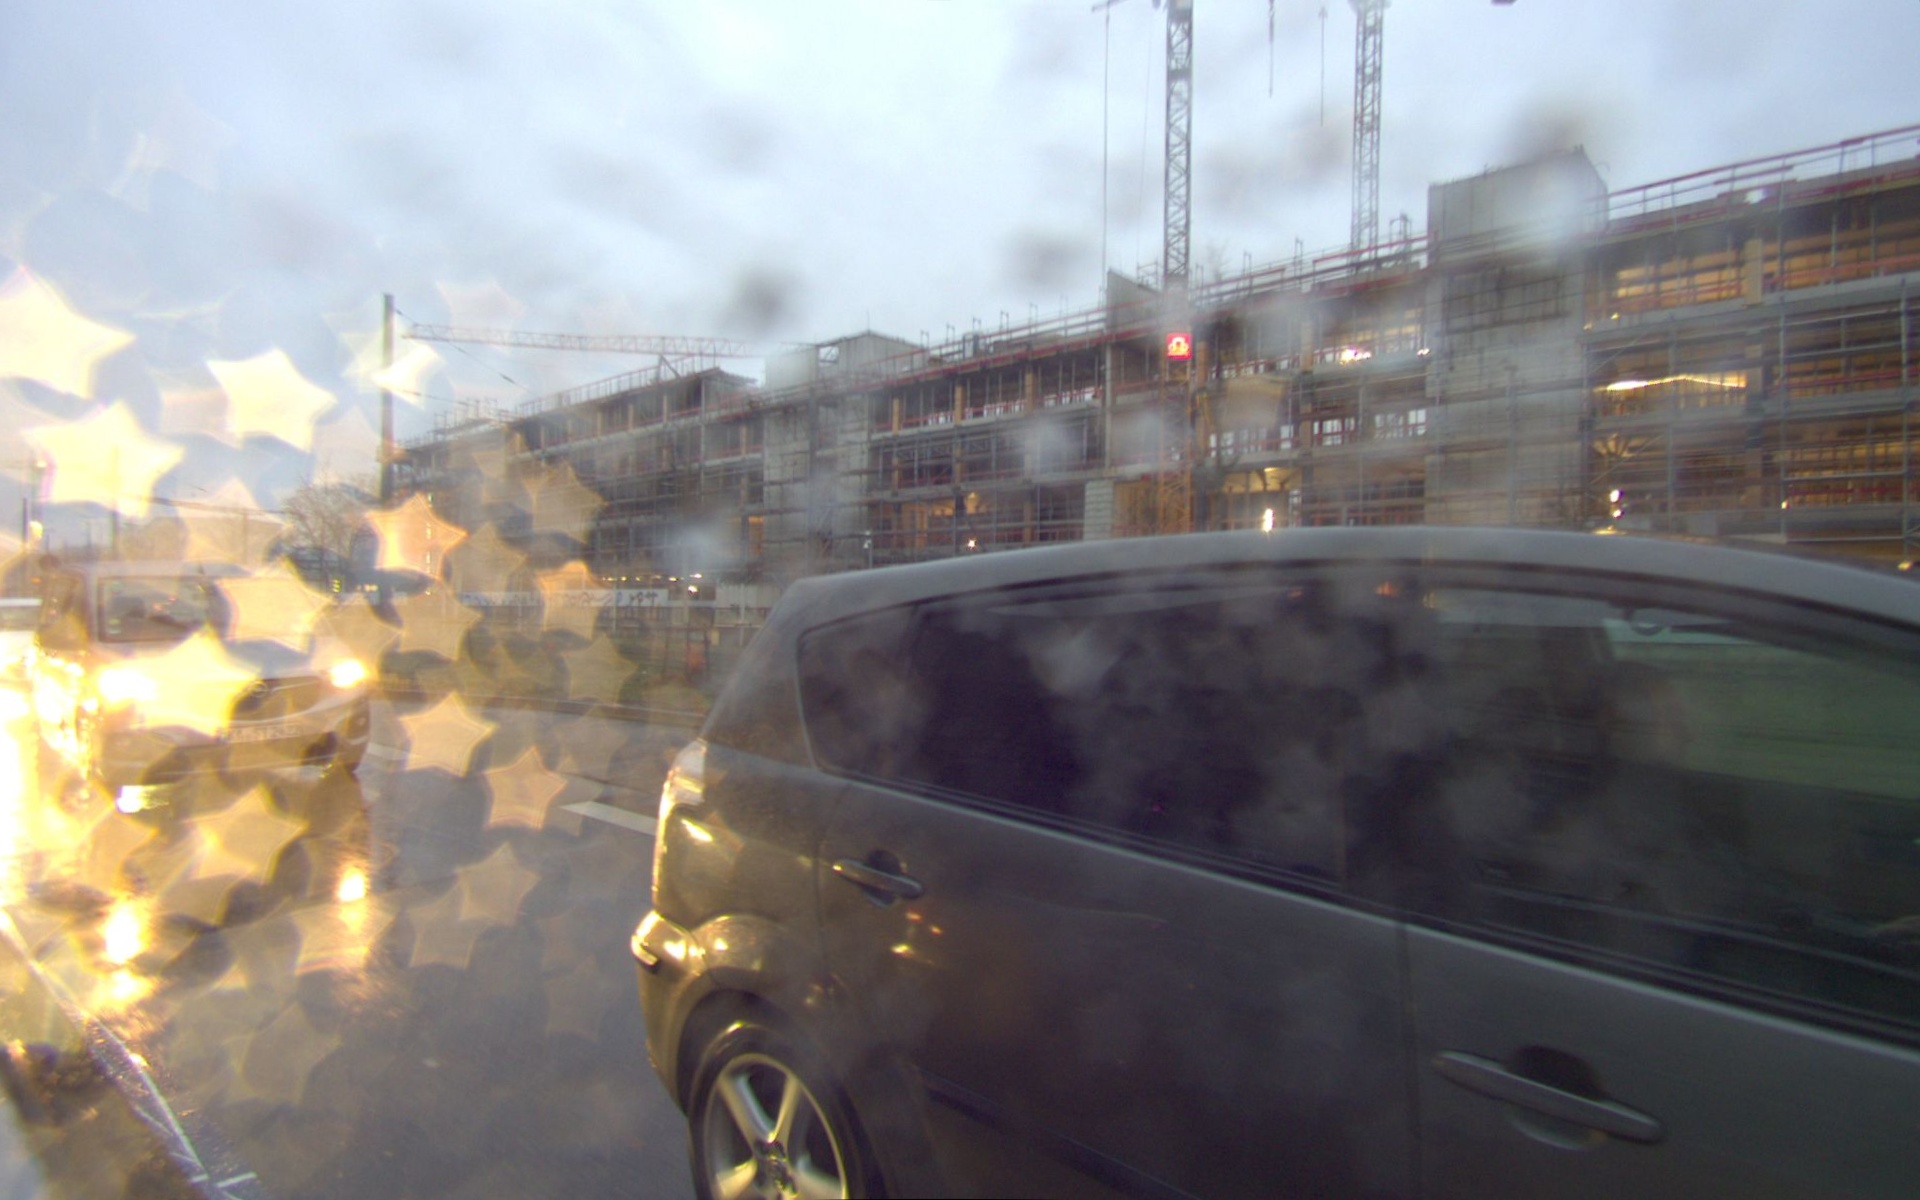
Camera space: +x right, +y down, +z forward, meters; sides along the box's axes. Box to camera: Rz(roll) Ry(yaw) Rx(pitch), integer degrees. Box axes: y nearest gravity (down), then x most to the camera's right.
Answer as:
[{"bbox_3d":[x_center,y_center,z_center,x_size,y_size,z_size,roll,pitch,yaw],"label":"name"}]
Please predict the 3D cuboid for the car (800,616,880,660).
[{"bbox_3d":[-6.279,1.925,52.730,4.081,2.139,1.933,0,0,40],"label":"car"}]

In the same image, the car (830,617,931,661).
[{"bbox_3d":[-3.418,1.600,43.035,4.078,1.700,1.934,0,0,38],"label":"car"}]

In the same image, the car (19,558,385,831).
[{"bbox_3d":[-6.523,0.593,8.539,4.001,1.746,1.833,0,0,43],"label":"car"}]

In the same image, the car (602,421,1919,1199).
[{"bbox_3d":[1.312,0.644,1.603,3.996,1.606,1.742,0,0,39],"label":"car"}]

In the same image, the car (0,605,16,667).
[{"bbox_3d":[-26.313,0.920,26.558,3.997,1.567,1.821,0,0,41],"label":"car"}]

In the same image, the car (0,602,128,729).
[{"bbox_3d":[-14.107,0.874,15.208,4.322,1.666,1.820,0,0,41],"label":"car"}]
